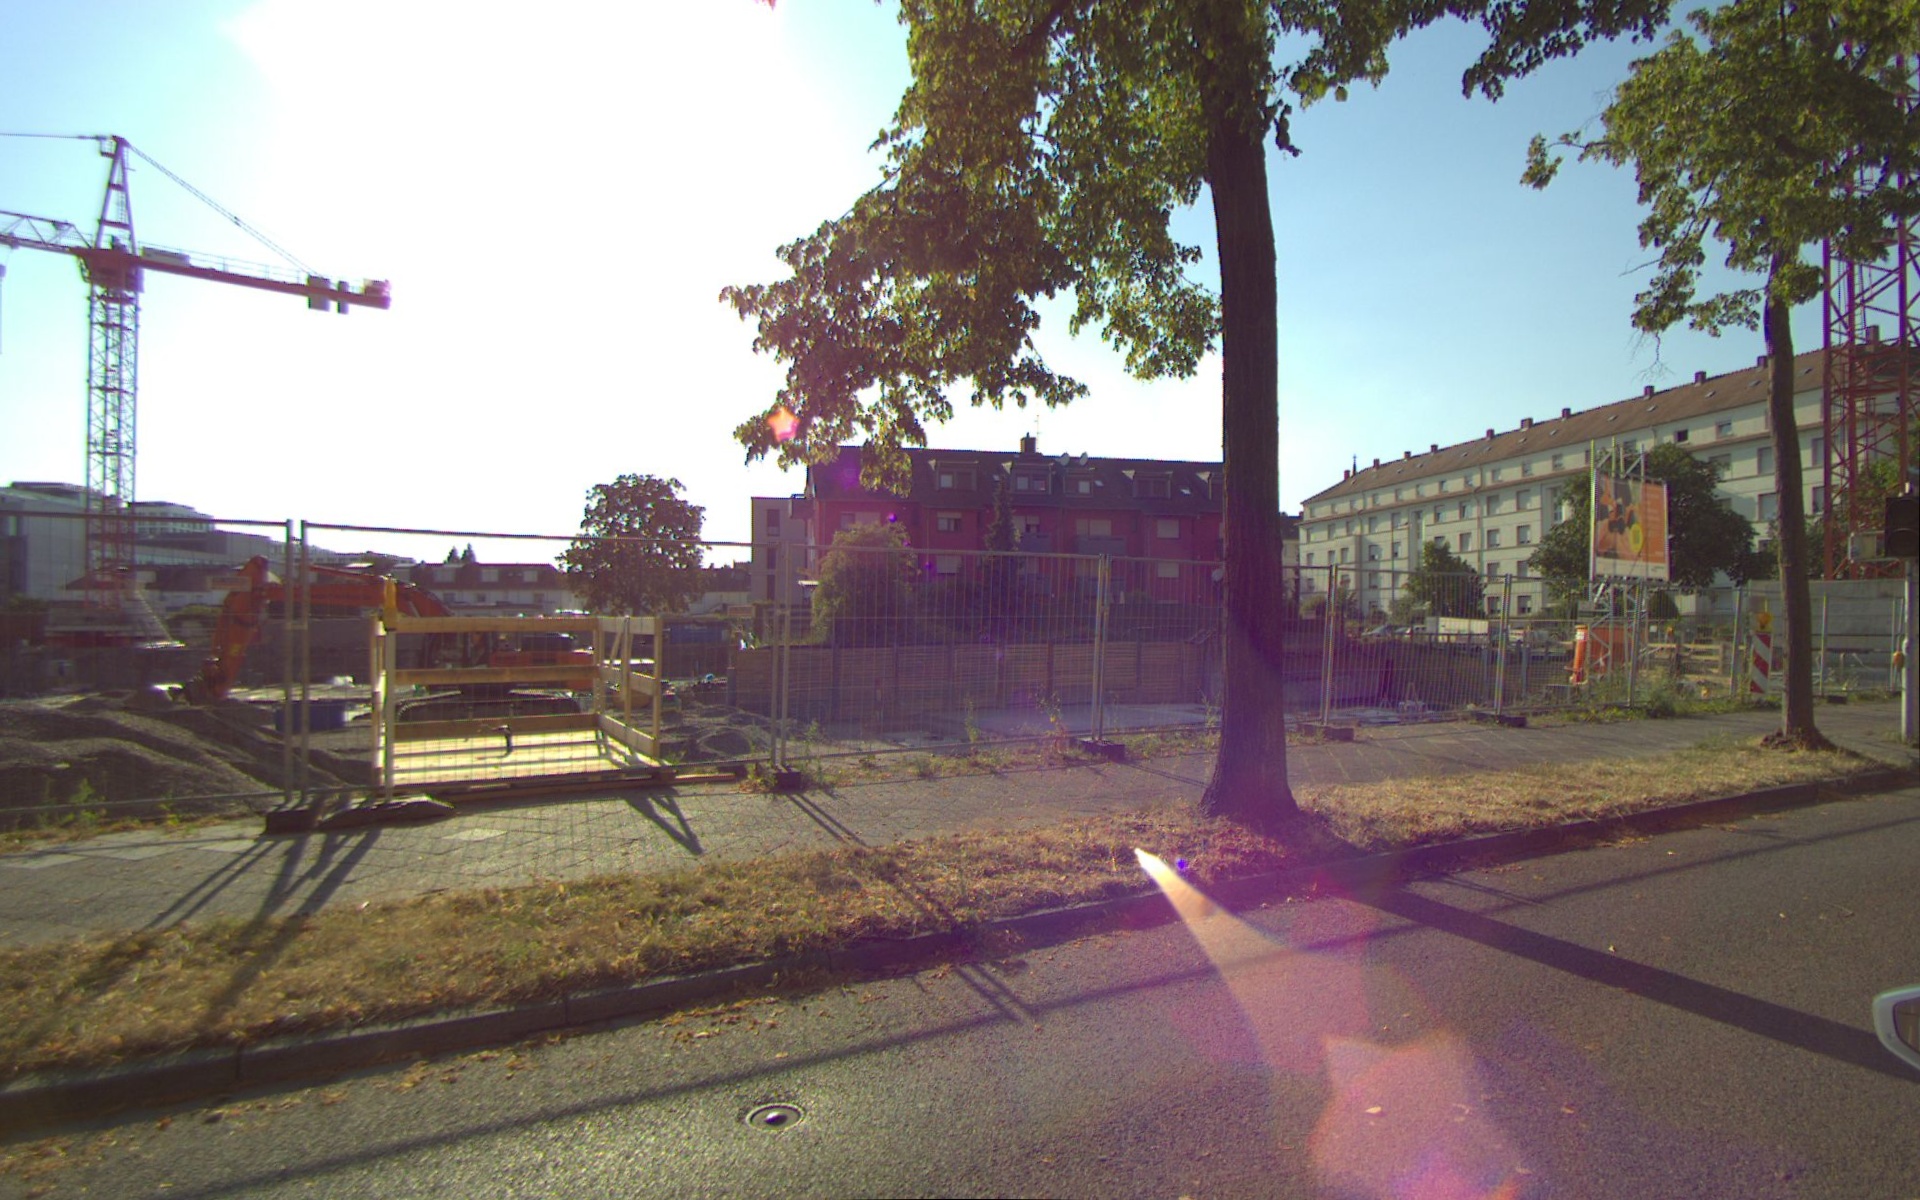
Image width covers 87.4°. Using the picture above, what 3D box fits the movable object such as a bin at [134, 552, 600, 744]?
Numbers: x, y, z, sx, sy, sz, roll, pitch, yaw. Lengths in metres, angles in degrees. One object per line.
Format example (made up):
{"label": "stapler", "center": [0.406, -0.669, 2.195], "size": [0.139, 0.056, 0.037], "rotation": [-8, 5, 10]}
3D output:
{"label": "movable object such as a bin", "center": [-16.758, 1.342, 29.309], "size": [11.346, 5.057, 3.017], "rotation": [-1, -3, -7]}
